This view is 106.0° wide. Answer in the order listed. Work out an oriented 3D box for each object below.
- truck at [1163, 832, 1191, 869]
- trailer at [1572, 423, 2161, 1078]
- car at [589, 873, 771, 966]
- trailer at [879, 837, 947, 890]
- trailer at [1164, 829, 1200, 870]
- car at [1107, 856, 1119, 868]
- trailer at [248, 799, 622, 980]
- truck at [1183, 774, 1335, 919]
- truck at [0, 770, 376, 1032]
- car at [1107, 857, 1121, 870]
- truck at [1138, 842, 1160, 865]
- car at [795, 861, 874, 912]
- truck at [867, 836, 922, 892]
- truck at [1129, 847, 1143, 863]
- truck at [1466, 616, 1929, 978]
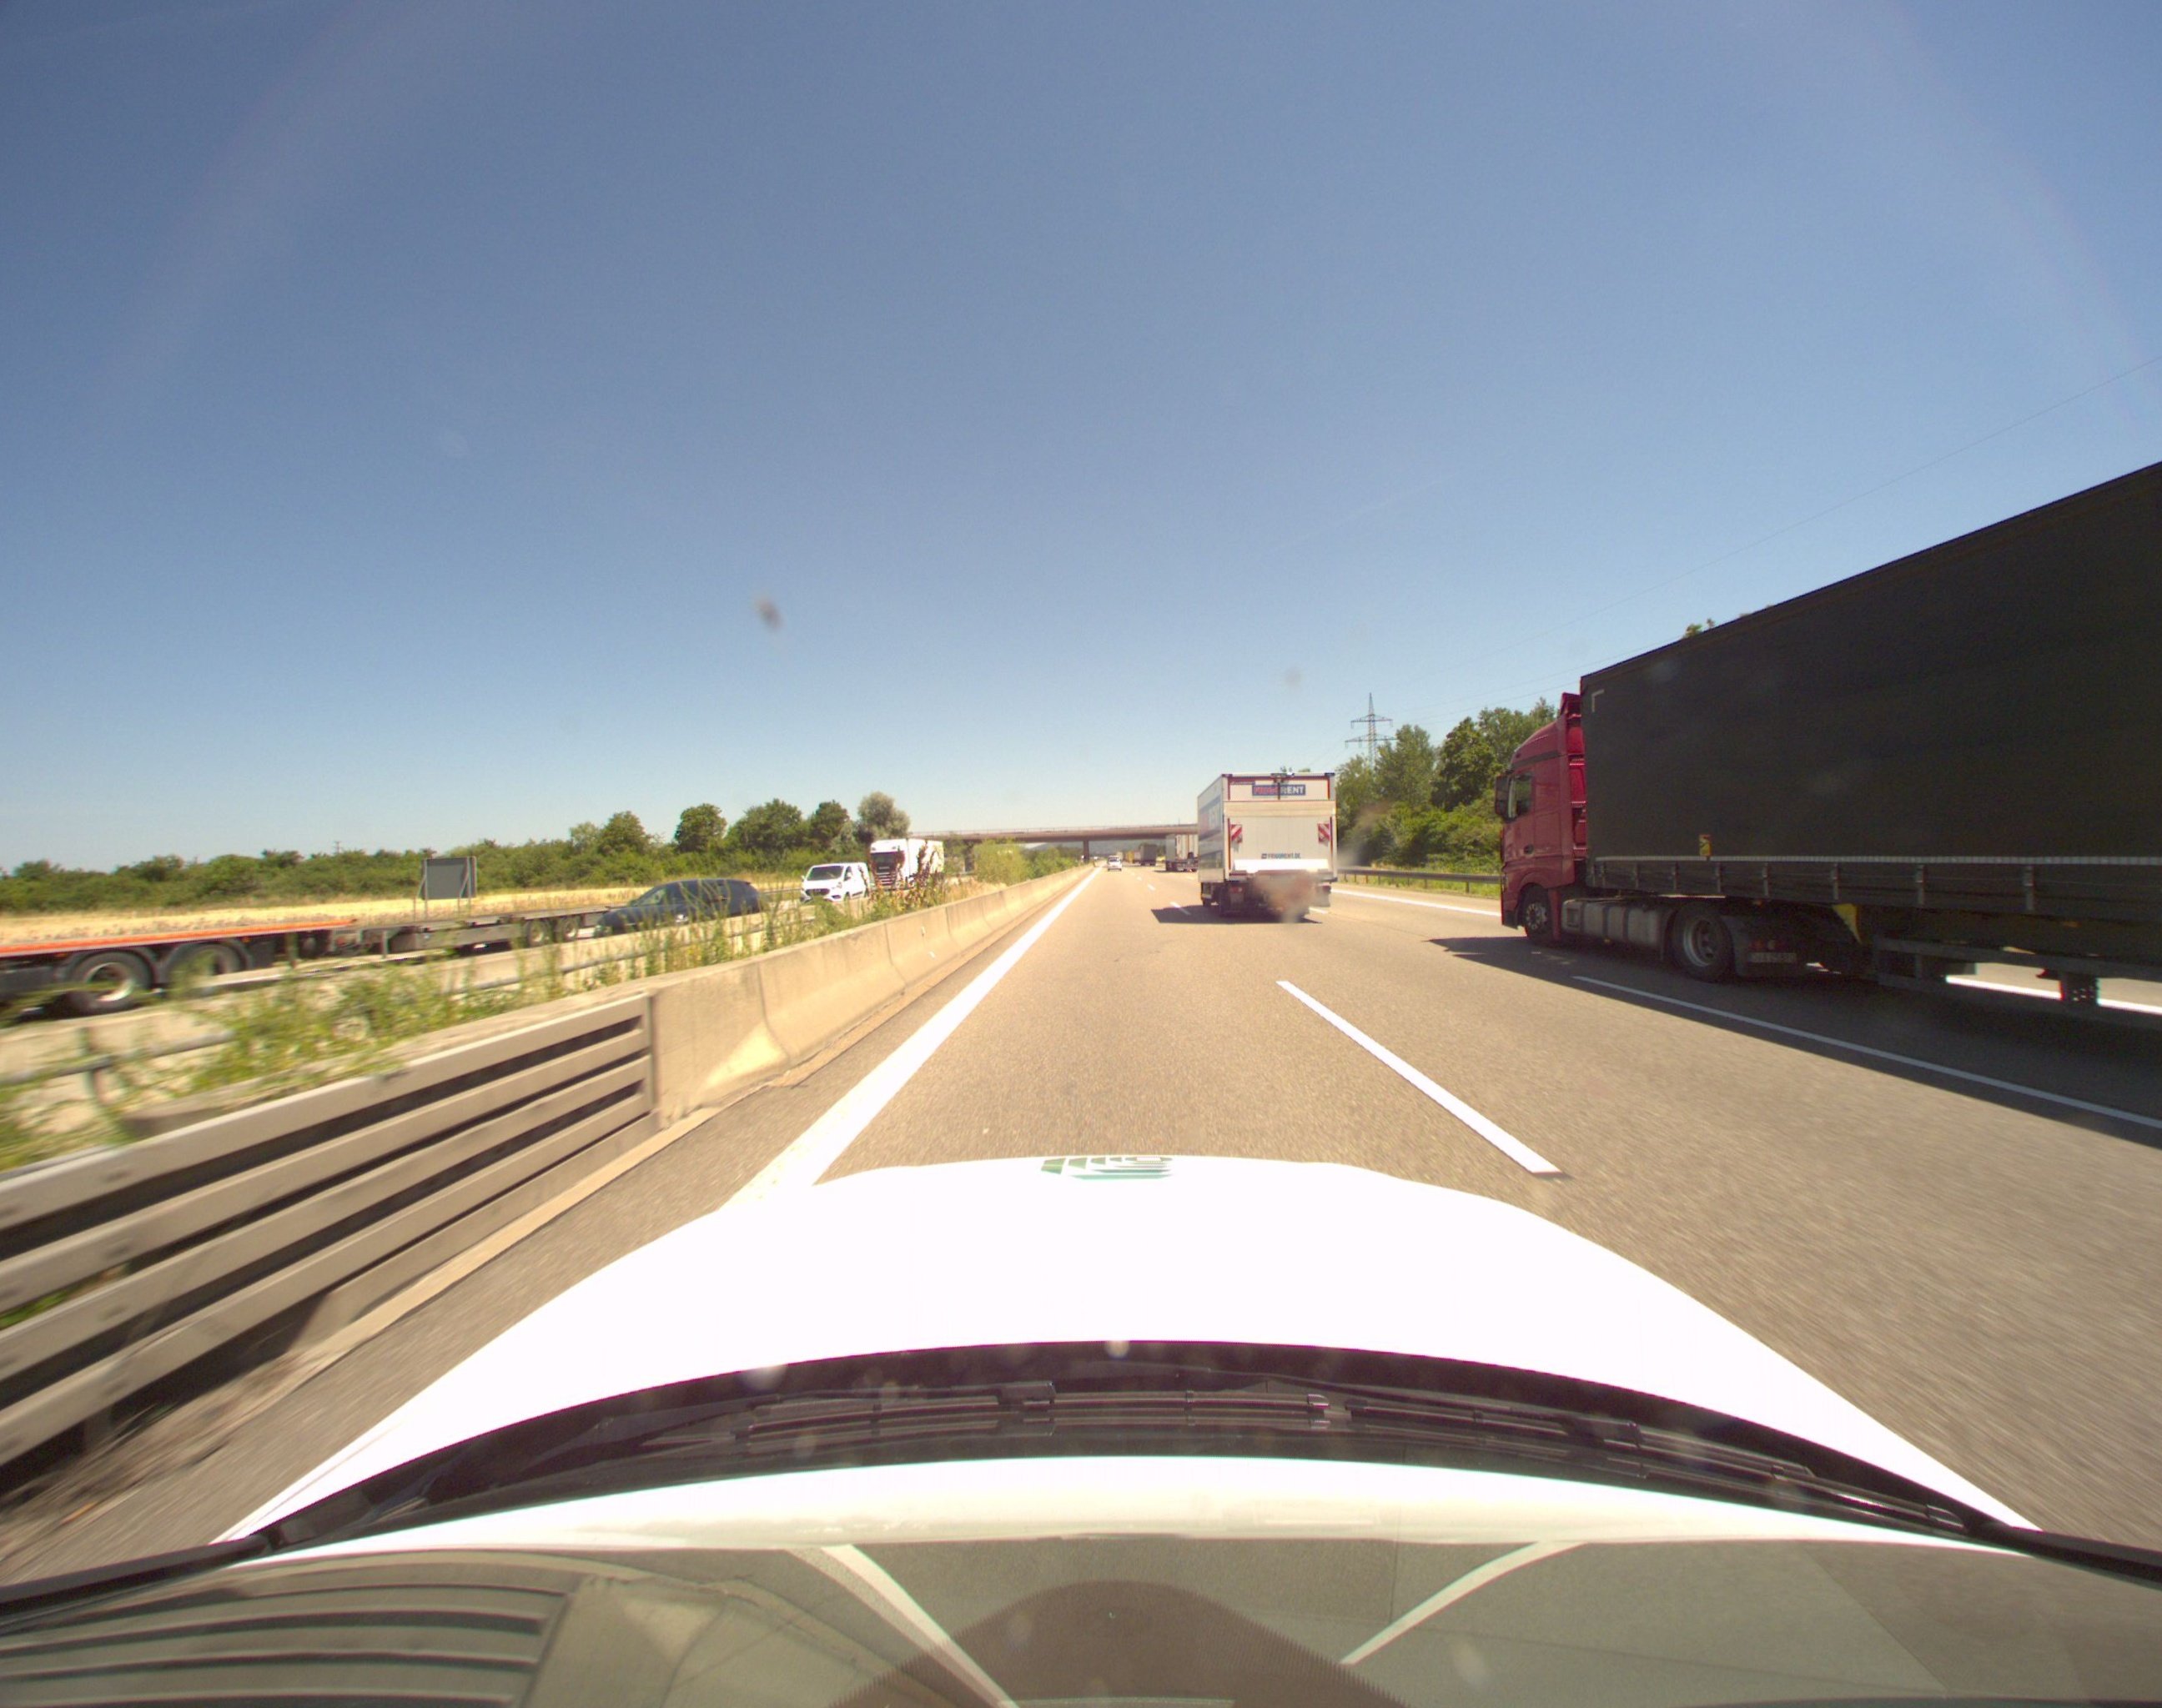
[{"bbox_3d":[11.375,-0.376,96.920,2.784,4.164,5.726,-1,0,2],"label":"truck"},{"bbox_3d":[8.262,-0.676,4.919,2.778,4.164,13.580,-1,0,2],"label":"trailer"},{"bbox_3d":[-8.268,1.272,17.206,1.760,1.579,3.820,-3,0,2],"label":"car"},{"bbox_3d":[-14.308,0.799,70.582,2.685,4.014,12.971,-3,0,1],"label":"trailer"},{"bbox_3d":[11.067,-0.398,90.150,2.784,4.164,13.963,-1,0,2],"label":"trailer"},{"bbox_3d":[5.137,1.260,131.308,1.753,1.850,4.003,-2,0,3],"label":"car"},{"bbox_3d":[-16.078,0.769,21.500,2.642,3.661,8.540,-4,0,2],"label":"trailer"},{"bbox_3d":[4.697,-0.140,23.238,2.772,3.373,8.131,-1,0,2],"label":"truck"},{"bbox_3d":[-16.425,0.734,12.039,2.642,3.661,10.193,-4,0,2],"label":"truck"},{"bbox_3d":[4.025,1.142,99.998,1.601,1.467,4.003,-2,0,3],"label":"car"},{"bbox_3d":[13.848,-0.099,166.505,3.507,4.416,14.598,-3,0,2],"label":"truck"},{"bbox_3d":[-11.021,1.405,36.795,1.875,1.987,4.740,-4,0,1],"label":"car"},{"bbox_3d":[-14.485,0.775,63.695,2.670,4.014,5.757,-3,0,1],"label":"truck"},{"bbox_3d":[15.759,0.357,235.650,3.507,4.416,14.598,-3,0,2],"label":"truck"},{"bbox_3d":[8.543,-0.652,12.374,2.784,4.164,5.726,-1,0,2],"label":"truck"}]
